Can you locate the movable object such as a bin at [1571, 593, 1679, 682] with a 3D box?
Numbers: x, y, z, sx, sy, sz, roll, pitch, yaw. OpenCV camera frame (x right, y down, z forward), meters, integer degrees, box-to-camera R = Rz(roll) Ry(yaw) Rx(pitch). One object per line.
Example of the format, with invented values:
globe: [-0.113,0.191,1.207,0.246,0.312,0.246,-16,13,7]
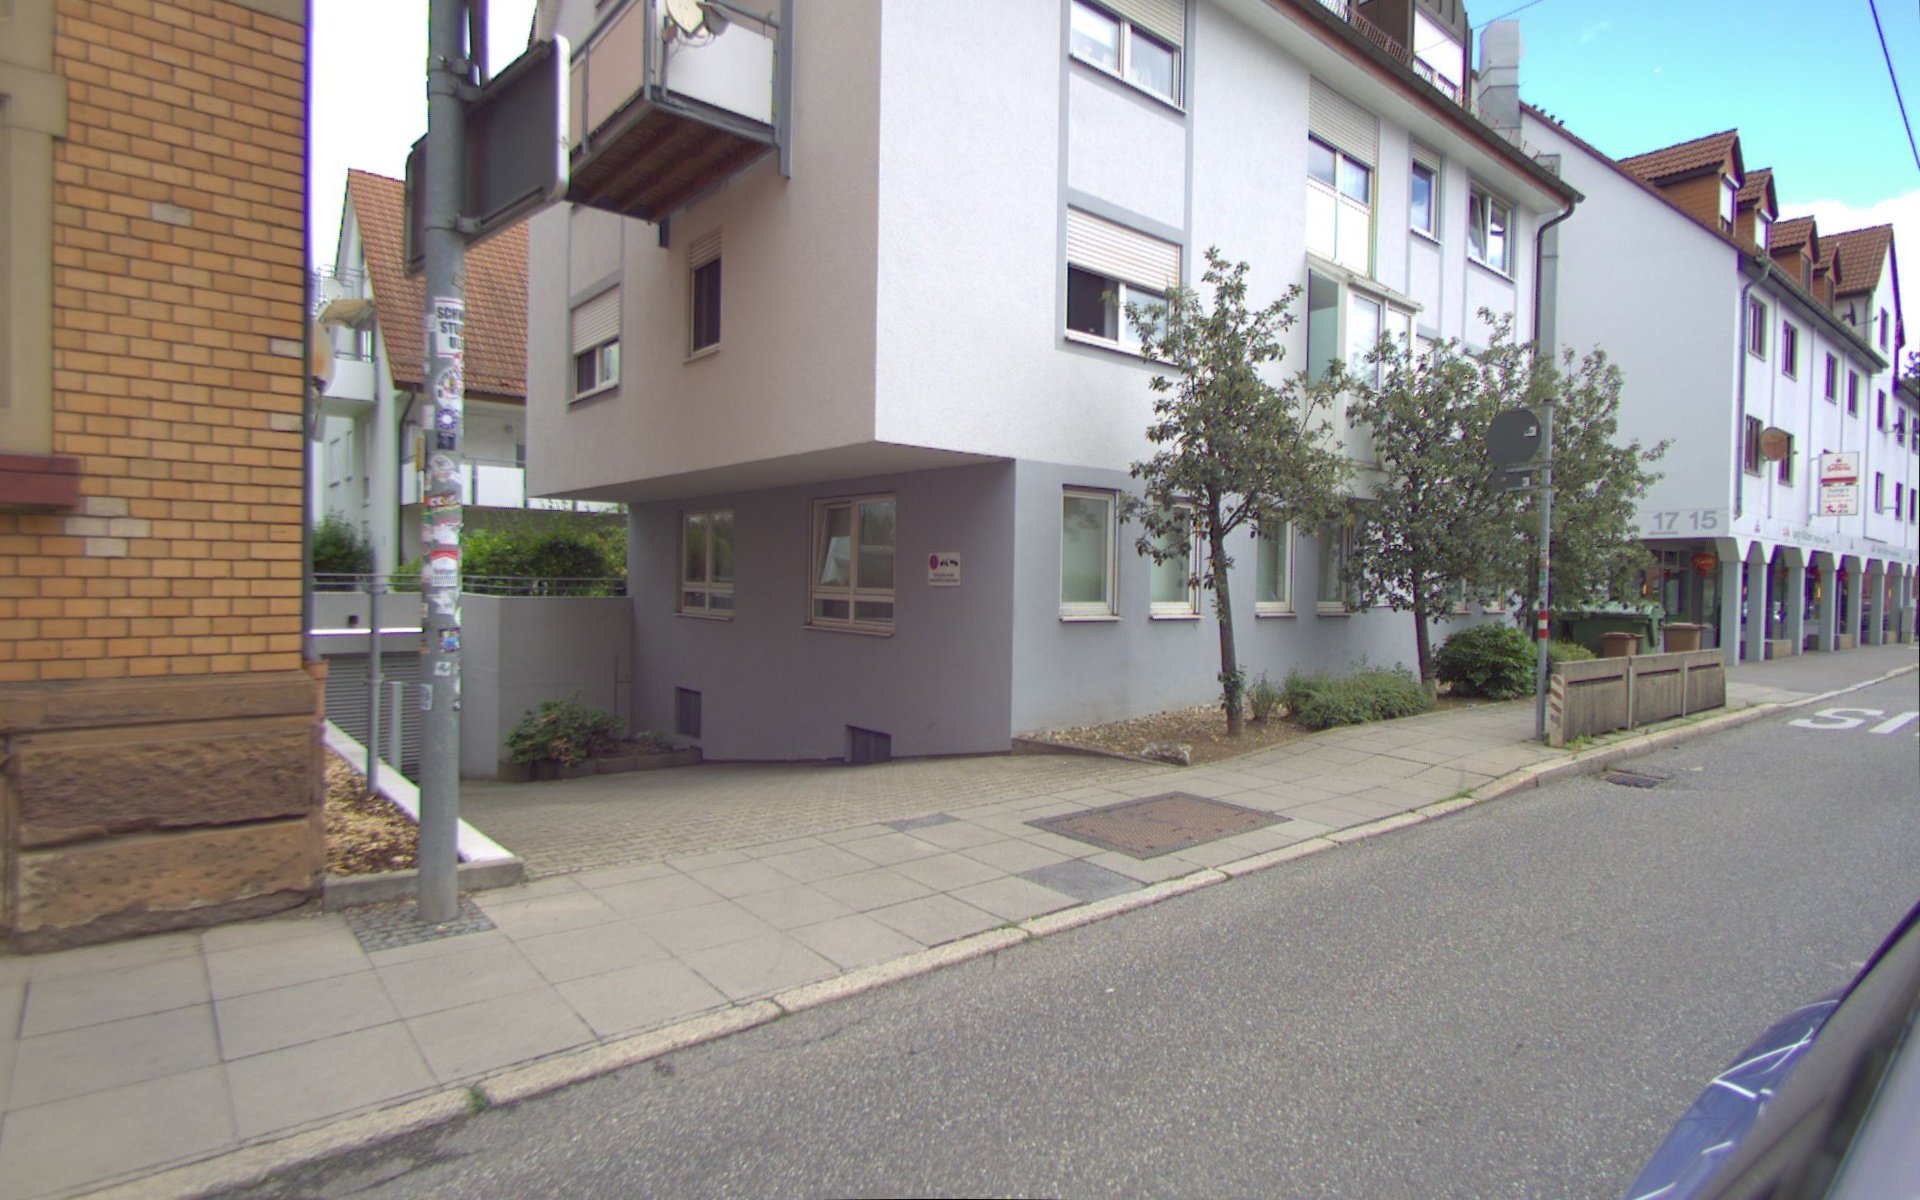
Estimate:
movable object such as a bin: [11.497,0.607,17.505,1.141,1.435,1.270,0,1,-40]

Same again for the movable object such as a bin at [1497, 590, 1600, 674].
movable object such as a bin: [10.930,0.564,18.804,1.284,1.453,1.270,0,1,-40]

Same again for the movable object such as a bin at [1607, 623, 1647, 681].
movable object such as a bin: [11.055,0.852,16.779,0.457,0.932,0.431,1,1,-40]

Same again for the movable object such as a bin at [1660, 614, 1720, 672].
movable object such as a bin: [14.431,0.842,19.998,0.953,1.080,0.685,1,1,-36]

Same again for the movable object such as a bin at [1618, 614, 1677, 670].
movable object such as a bin: [13.986,0.837,20.580,0.953,1.092,0.700,1,1,-36]
